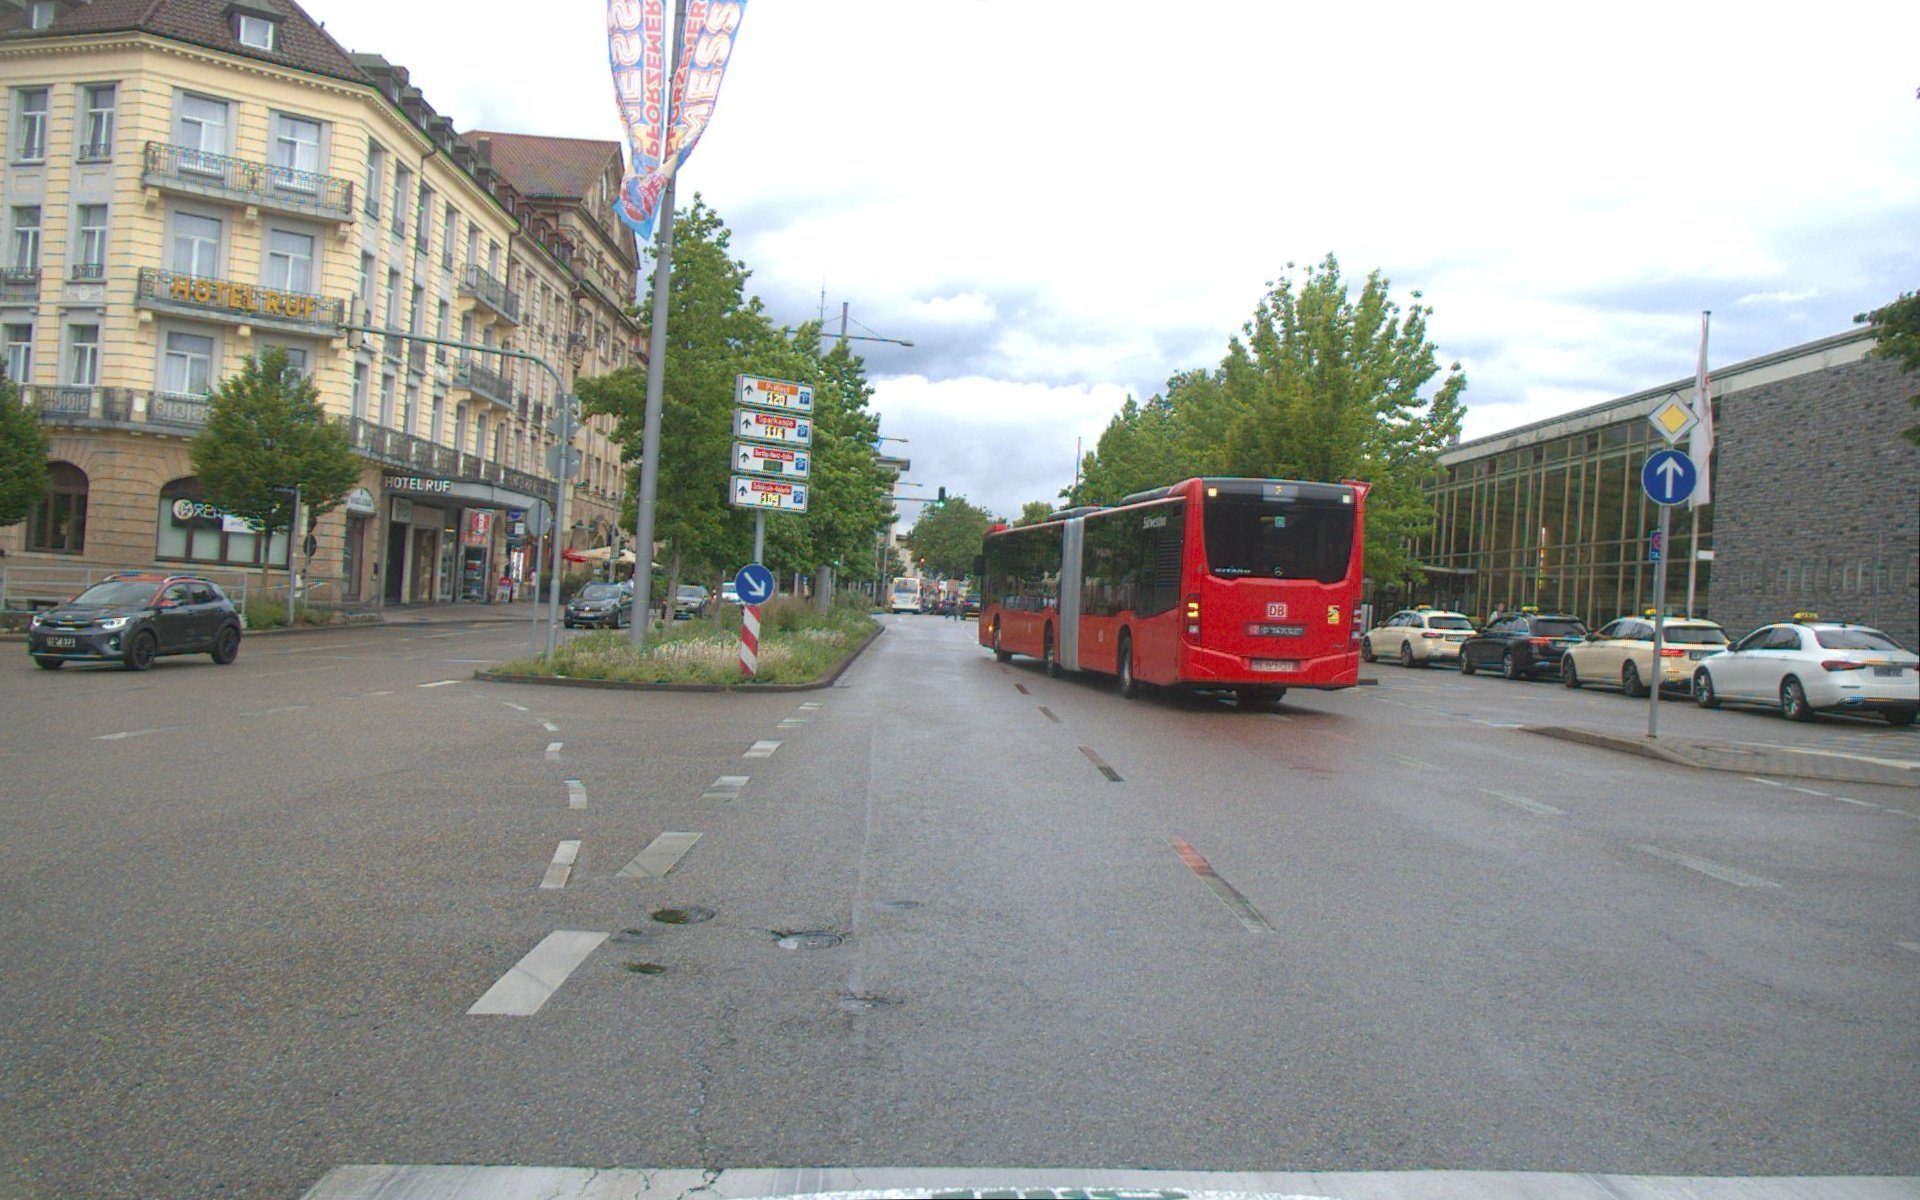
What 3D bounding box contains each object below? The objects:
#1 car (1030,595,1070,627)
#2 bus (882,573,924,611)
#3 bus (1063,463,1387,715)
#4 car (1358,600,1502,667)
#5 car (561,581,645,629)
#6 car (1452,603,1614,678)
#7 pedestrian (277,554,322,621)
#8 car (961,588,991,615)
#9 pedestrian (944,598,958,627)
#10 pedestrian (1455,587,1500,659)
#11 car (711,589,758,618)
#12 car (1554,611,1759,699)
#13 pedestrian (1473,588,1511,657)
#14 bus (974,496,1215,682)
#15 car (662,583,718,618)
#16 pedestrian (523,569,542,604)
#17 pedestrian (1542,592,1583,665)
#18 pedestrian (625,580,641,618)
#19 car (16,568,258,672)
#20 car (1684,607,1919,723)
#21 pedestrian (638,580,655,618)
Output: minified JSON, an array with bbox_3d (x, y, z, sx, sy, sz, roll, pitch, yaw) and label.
[{"bbox_3d":[4.625,0.549,85.456,1.779,1.557,3.999,1,0,-1],"label":"car"},{"bbox_3d":[-5.359,-0.725,155.787,3.685,3.265,15.519,1,0,-2],"label":"bus"},{"bbox_3d":[3.744,-0.152,25.695,2.691,3.229,8.106,1,0,-8],"label":"bus"},{"bbox_3d":[12.553,0.853,44.473,1.956,1.628,4.814,1,0,-8],"label":"car"},{"bbox_3d":[-11.606,0.154,53.982,1.718,1.466,4.061,2,0,2],"label":"car"},{"bbox_3d":[13.053,0.887,37.995,1.875,1.551,4.740,1,0,-3],"label":"car"},{"bbox_3d":[-19.245,-0.354,48.188,0.845,1.911,1.022,2,0,-1],"label":"pedestrian"},{"bbox_3d":[1.104,0.061,117.103,1.953,1.837,4.689,1,0,-1],"label":"car"},{"bbox_3d":[-0.525,0.752,99.005,0.742,1.730,0.560,2,0,6],"label":"pedestrian"},{"bbox_3d":[14.956,0.660,47.852,0.801,2.049,0.914,2,0,-25],"label":"pedestrian"},{"bbox_3d":[-11.693,0.186,85.957,1.718,1.393,4.061,2,0,2],"label":"car"},{"bbox_3d":[13.243,0.992,31.775,1.809,1.477,4.664,1,0,-2],"label":"car"},{"bbox_3d":[16.231,0.676,50.479,0.795,2.049,0.921,2,0,0],"label":"pedestrian"},{"bbox_3d":[2.454,-0.214,34.464,2.692,3.229,10.175,1,0,-9],"label":"bus"},{"bbox_3d":[-11.452,0.022,70.346,1.719,1.393,4.059,2,0,-1],"label":"car"},{"bbox_3d":[-19.180,-0.610,74.171,0.656,1.537,0.512,2,0,-39],"label":"pedestrian"},{"bbox_3d":[17.411,0.813,47.807,0.795,2.049,0.921,2,0,-2],"label":"pedestrian"},{"bbox_3d":[-15.496,-0.049,78.348,0.563,1.762,0.609,2,0,-1],"label":"pedestrian"},{"bbox_3d":[-13.735,0.309,27.885,1.596,1.502,4.029,4,0,7],"label":"car"},{"bbox_3d":[13.373,0.948,26.058,1.739,1.617,4.614,1,0,-2],"label":"car"},{"bbox_3d":[-14.806,-0.048,78.181,0.661,1.731,0.633,2,0,-1],"label":"pedestrian"}]
